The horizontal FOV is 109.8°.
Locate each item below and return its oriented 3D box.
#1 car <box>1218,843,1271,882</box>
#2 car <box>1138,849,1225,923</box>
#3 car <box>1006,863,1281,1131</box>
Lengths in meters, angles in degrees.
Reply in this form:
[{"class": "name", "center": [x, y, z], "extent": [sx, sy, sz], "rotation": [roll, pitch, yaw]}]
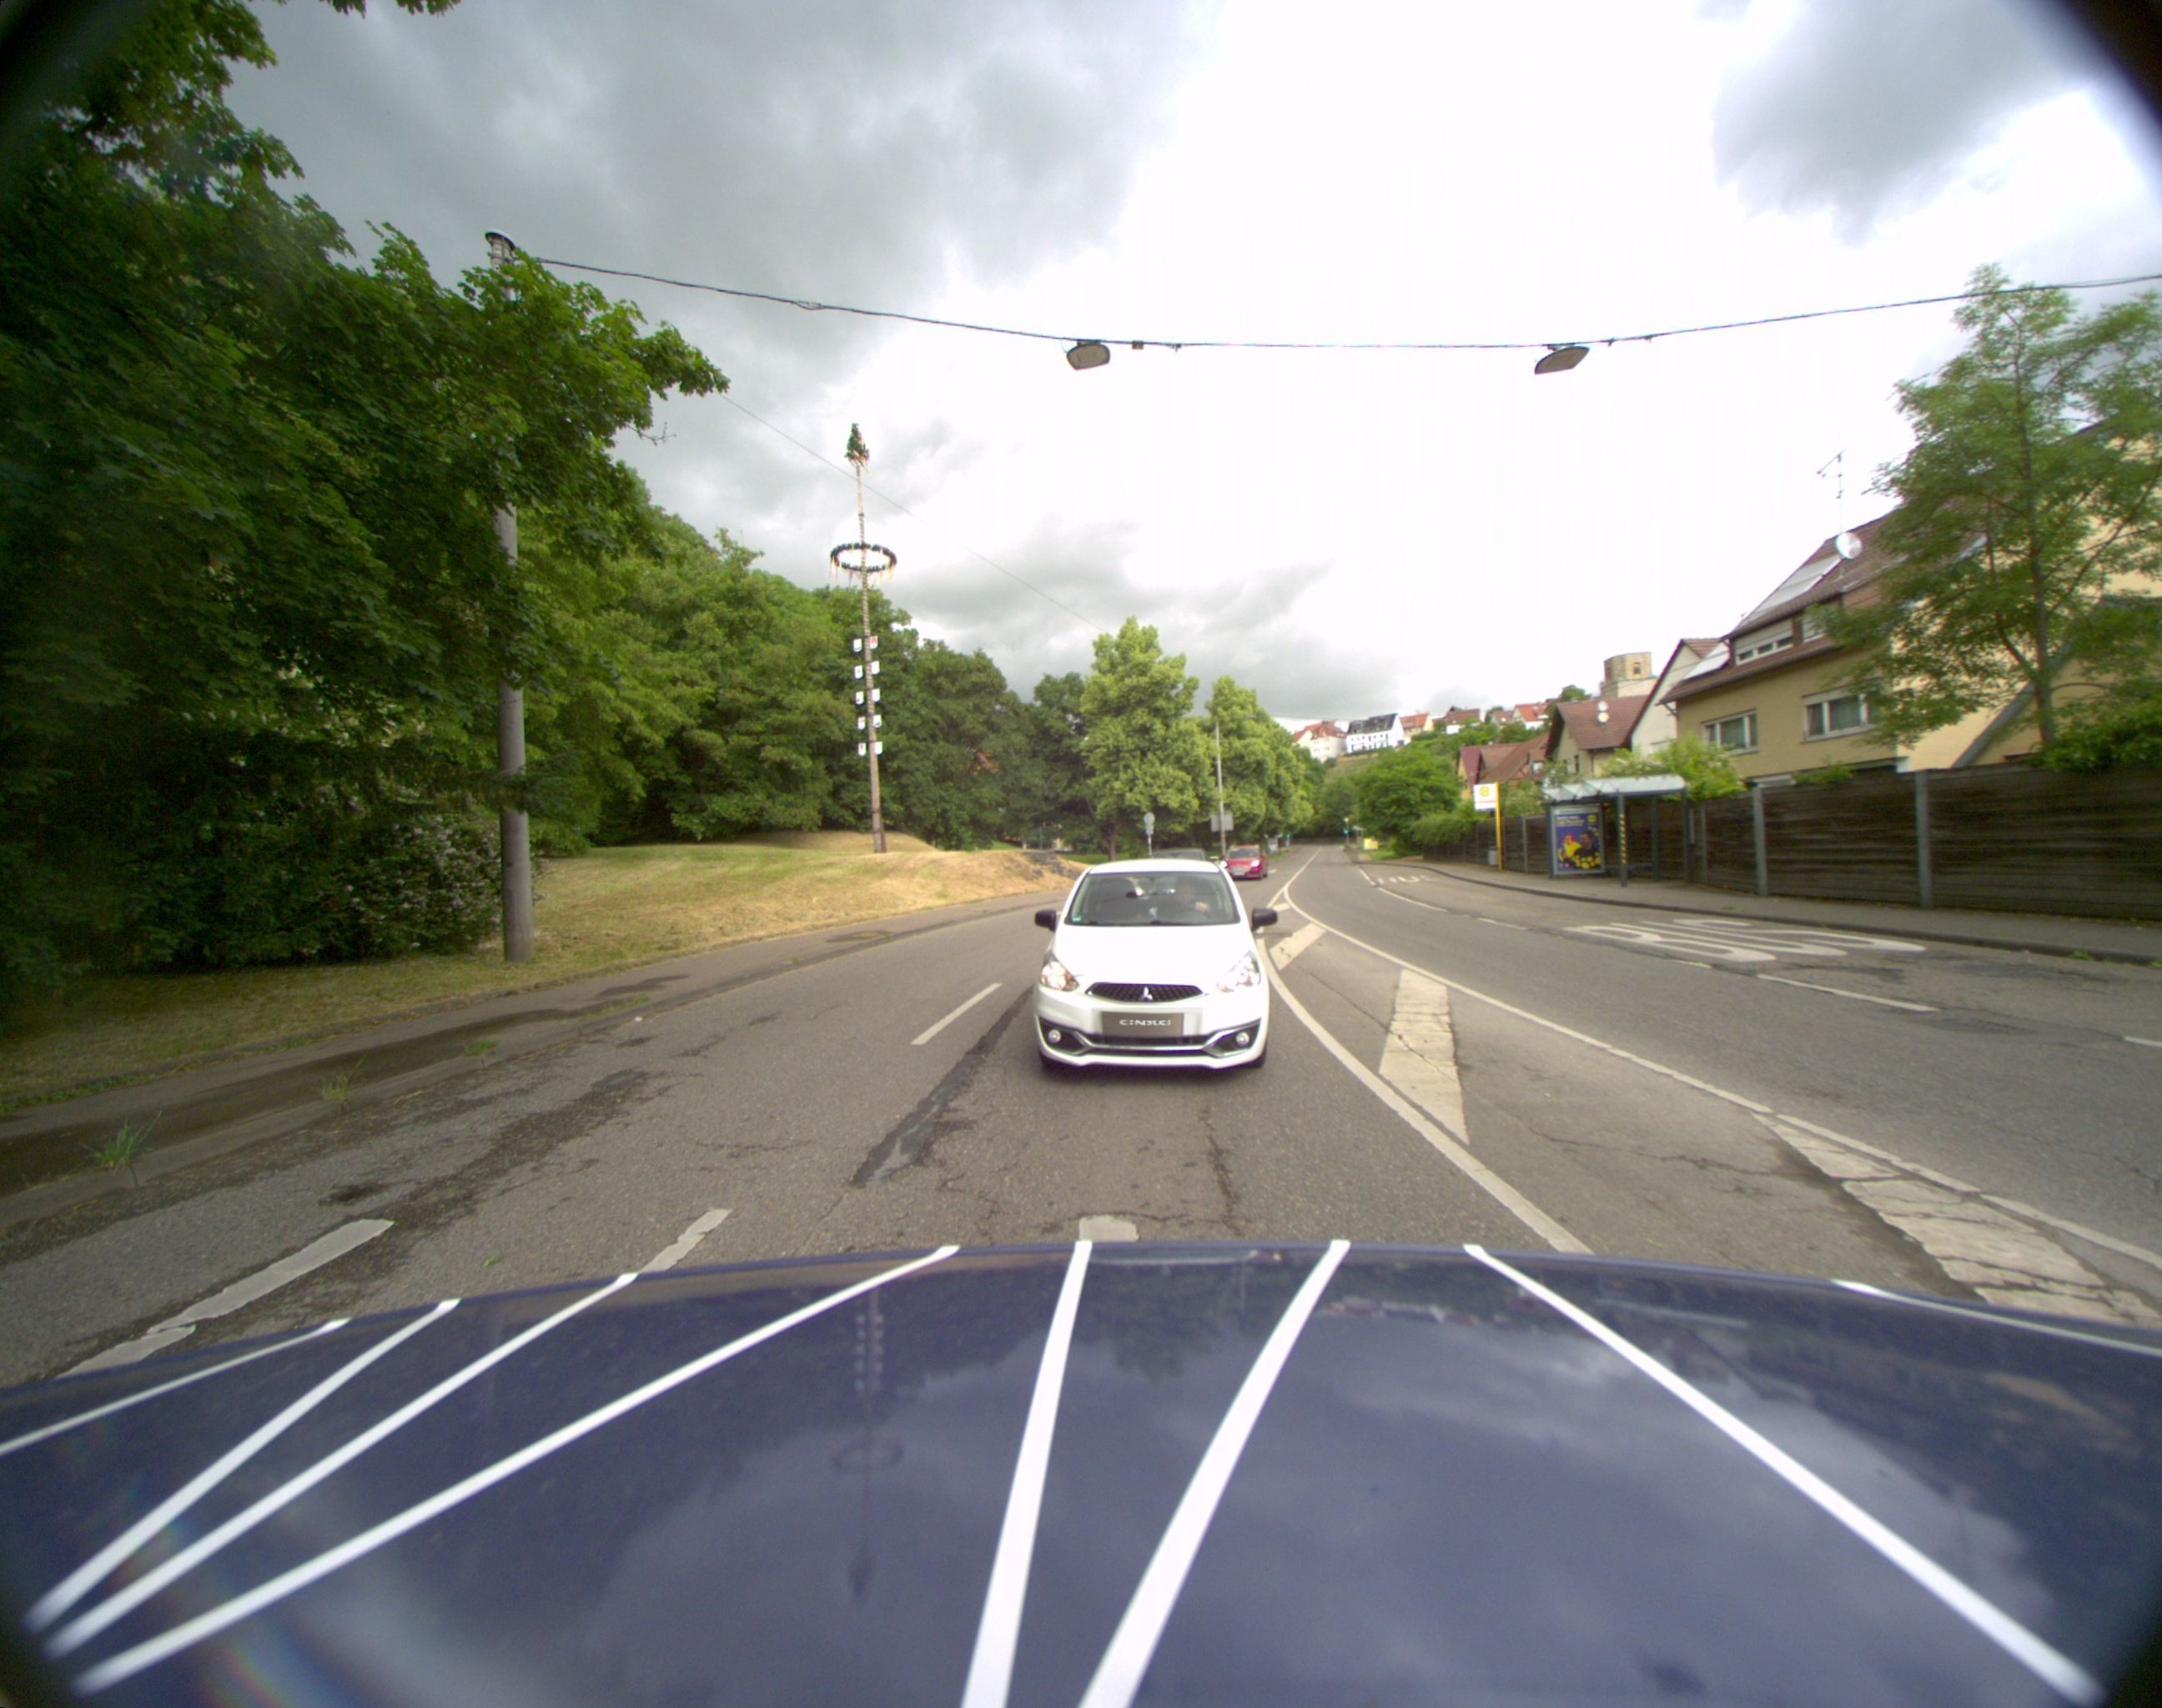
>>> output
[{"class": "car", "center": [7.836, 0.384, 36.131], "extent": [1.825, 1.662, 4.063], "rotation": [-2, 1, 20]}, {"class": "car", "center": [2.525, 0.697, 18.434], "extent": [1.723, 1.539, 3.785], "rotation": [-2, 1, 12]}, {"class": "car", "center": [0.642, 0.909, 6.431], "extent": [1.617, 1.505, 3.607], "rotation": [-2, 1, 9]}]
